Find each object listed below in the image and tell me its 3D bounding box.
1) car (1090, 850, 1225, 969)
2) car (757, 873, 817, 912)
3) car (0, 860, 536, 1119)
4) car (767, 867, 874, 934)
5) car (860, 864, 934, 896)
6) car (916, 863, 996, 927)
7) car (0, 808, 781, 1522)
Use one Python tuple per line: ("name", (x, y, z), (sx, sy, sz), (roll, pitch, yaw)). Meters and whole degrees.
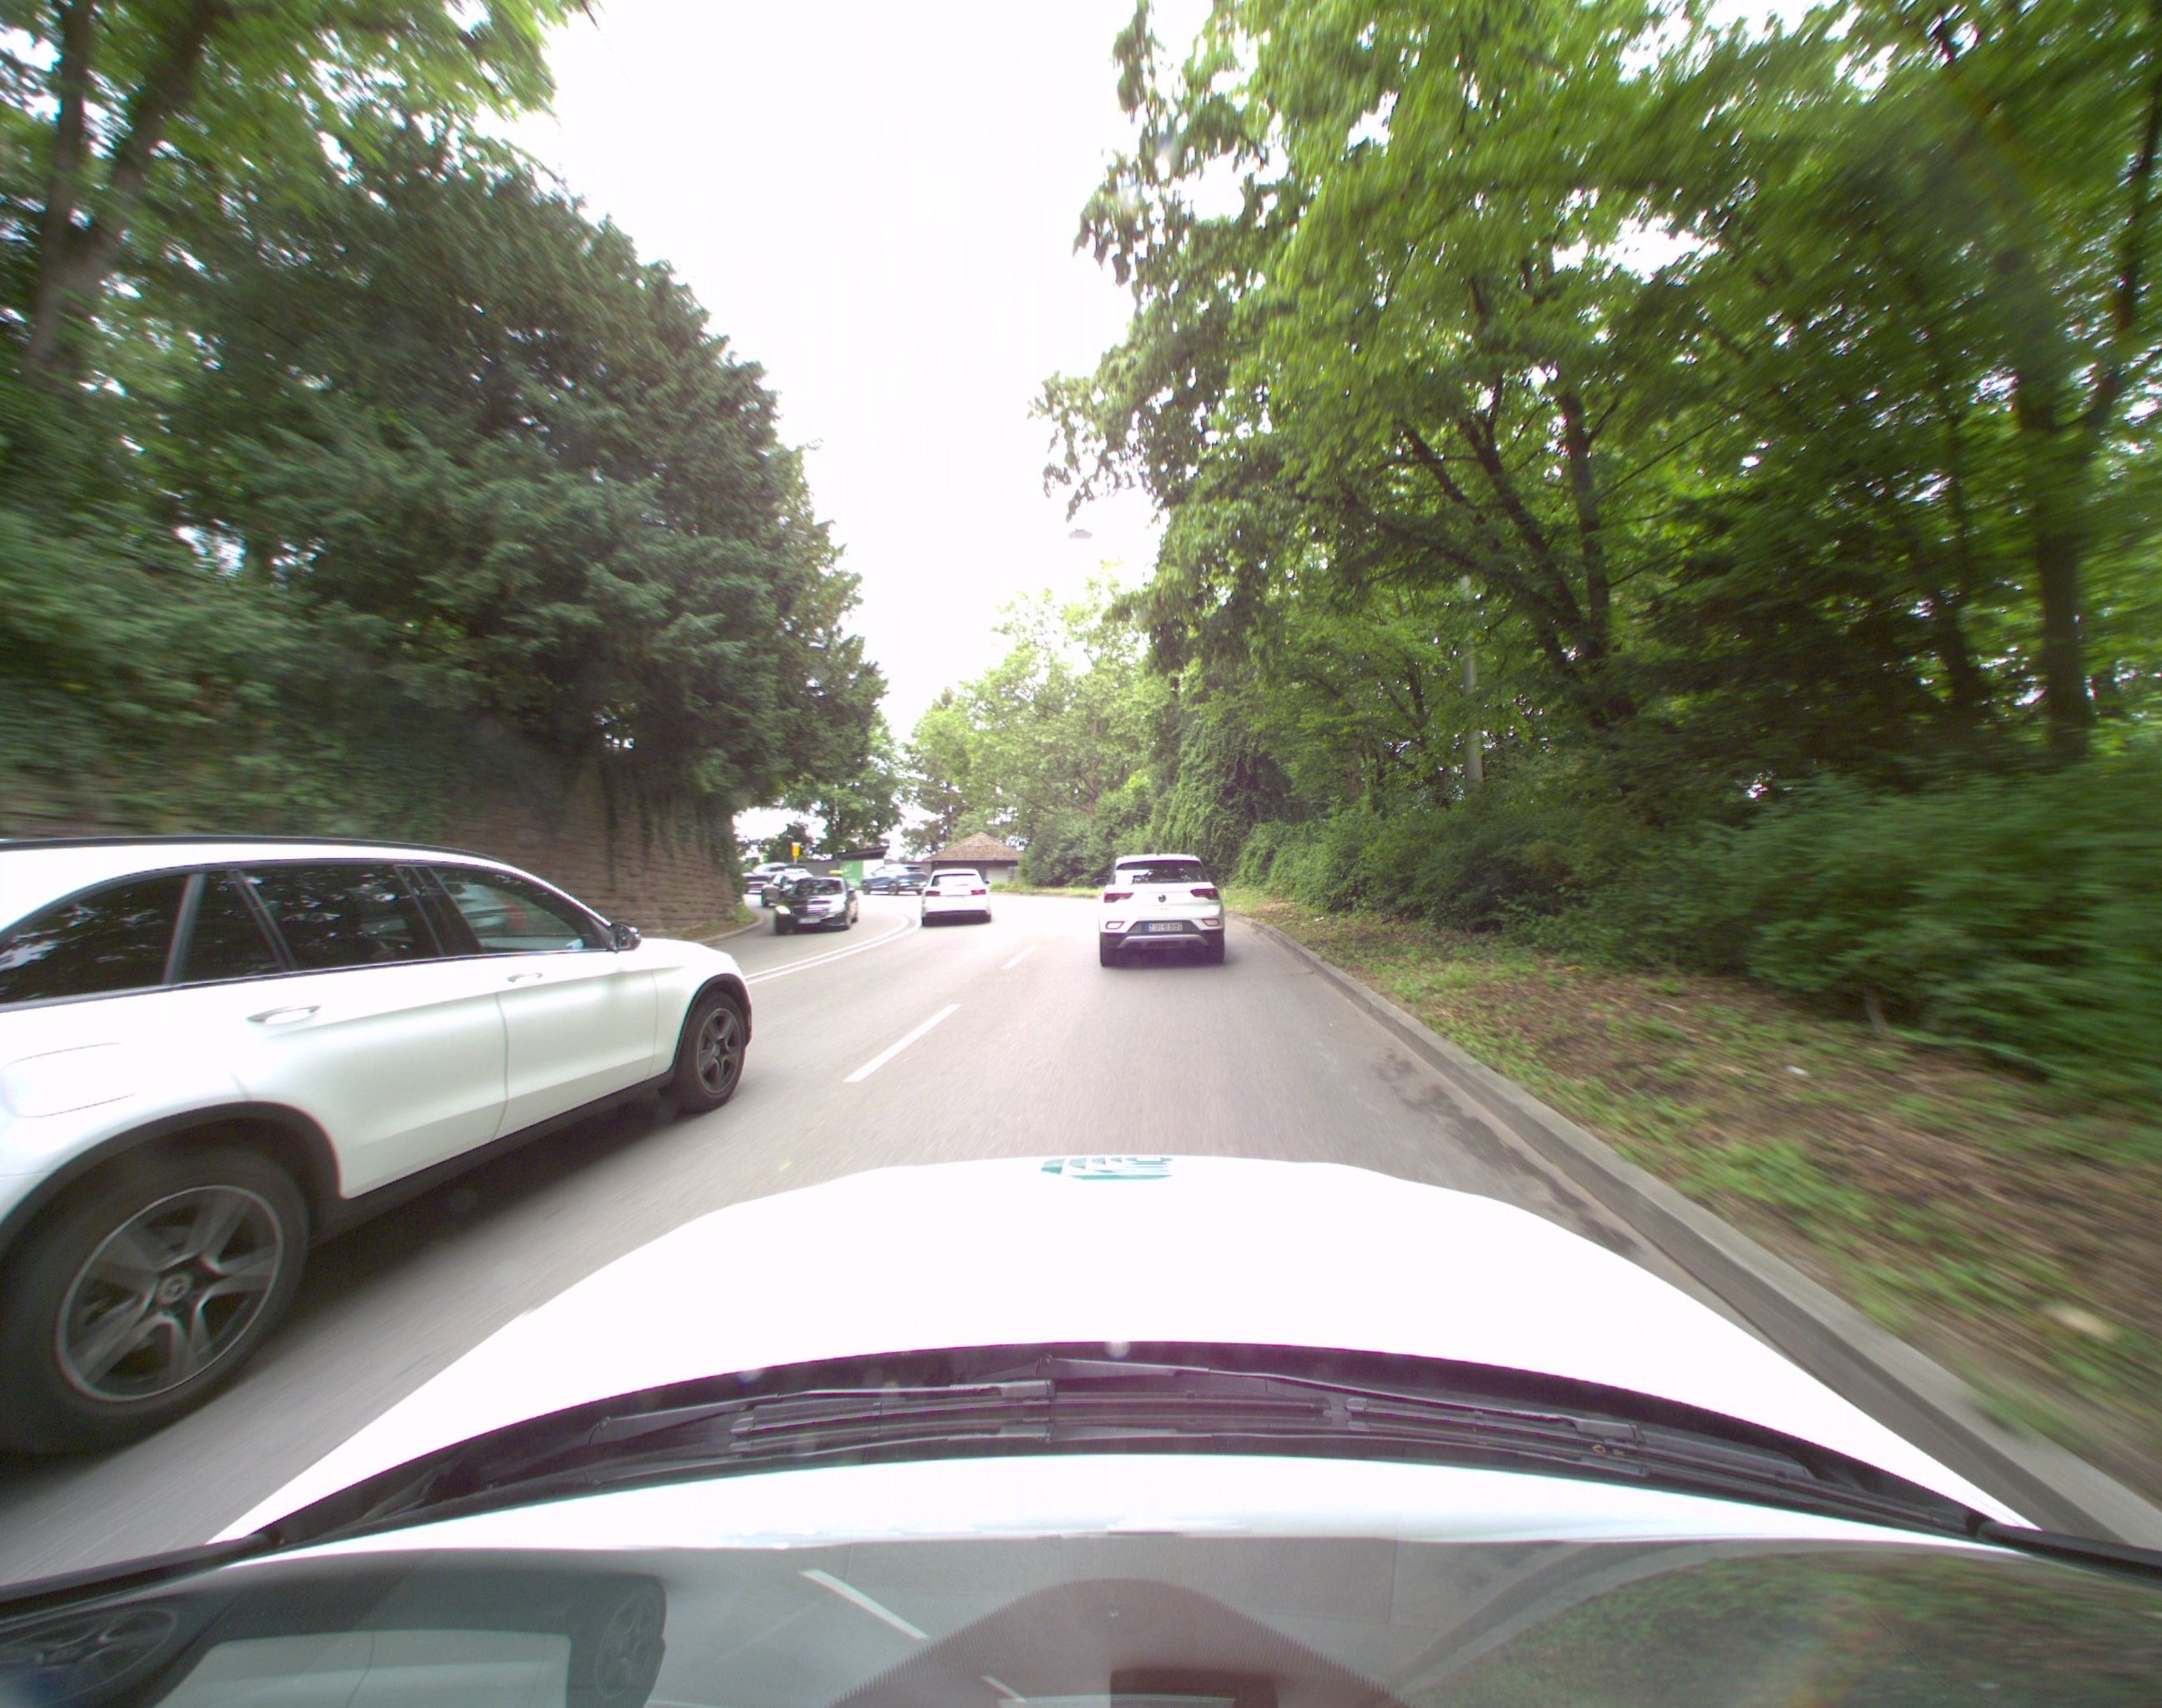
("car", (1.355, 0.744, 12.959), (1.744, 1.553, 4.349), (-1, 0, 9))
("car", (-11.781, 1.500, 32.455), (1.780, 1.339, 3.925), (-2, -1, -26))
("car", (-7.600, 0.915, 7.496), (1.841, 1.649, 4.517), (-1, -1, 5))
("car", (-7.138, 1.205, 22.780), (1.860, 1.597, 4.620), (-2, -1, -6))
("car", (-9.537, 1.322, 42.078), (3.972, 1.501, 1.685), (-1, 0, 42))
("car", (-3.643, 1.073, 23.052), (1.867, 1.534, 4.755), (-3, 0, -13))
("car", (-3.271, 0.763, 3.708), (1.851, 1.606, 4.674), (-1, -1, 3))
